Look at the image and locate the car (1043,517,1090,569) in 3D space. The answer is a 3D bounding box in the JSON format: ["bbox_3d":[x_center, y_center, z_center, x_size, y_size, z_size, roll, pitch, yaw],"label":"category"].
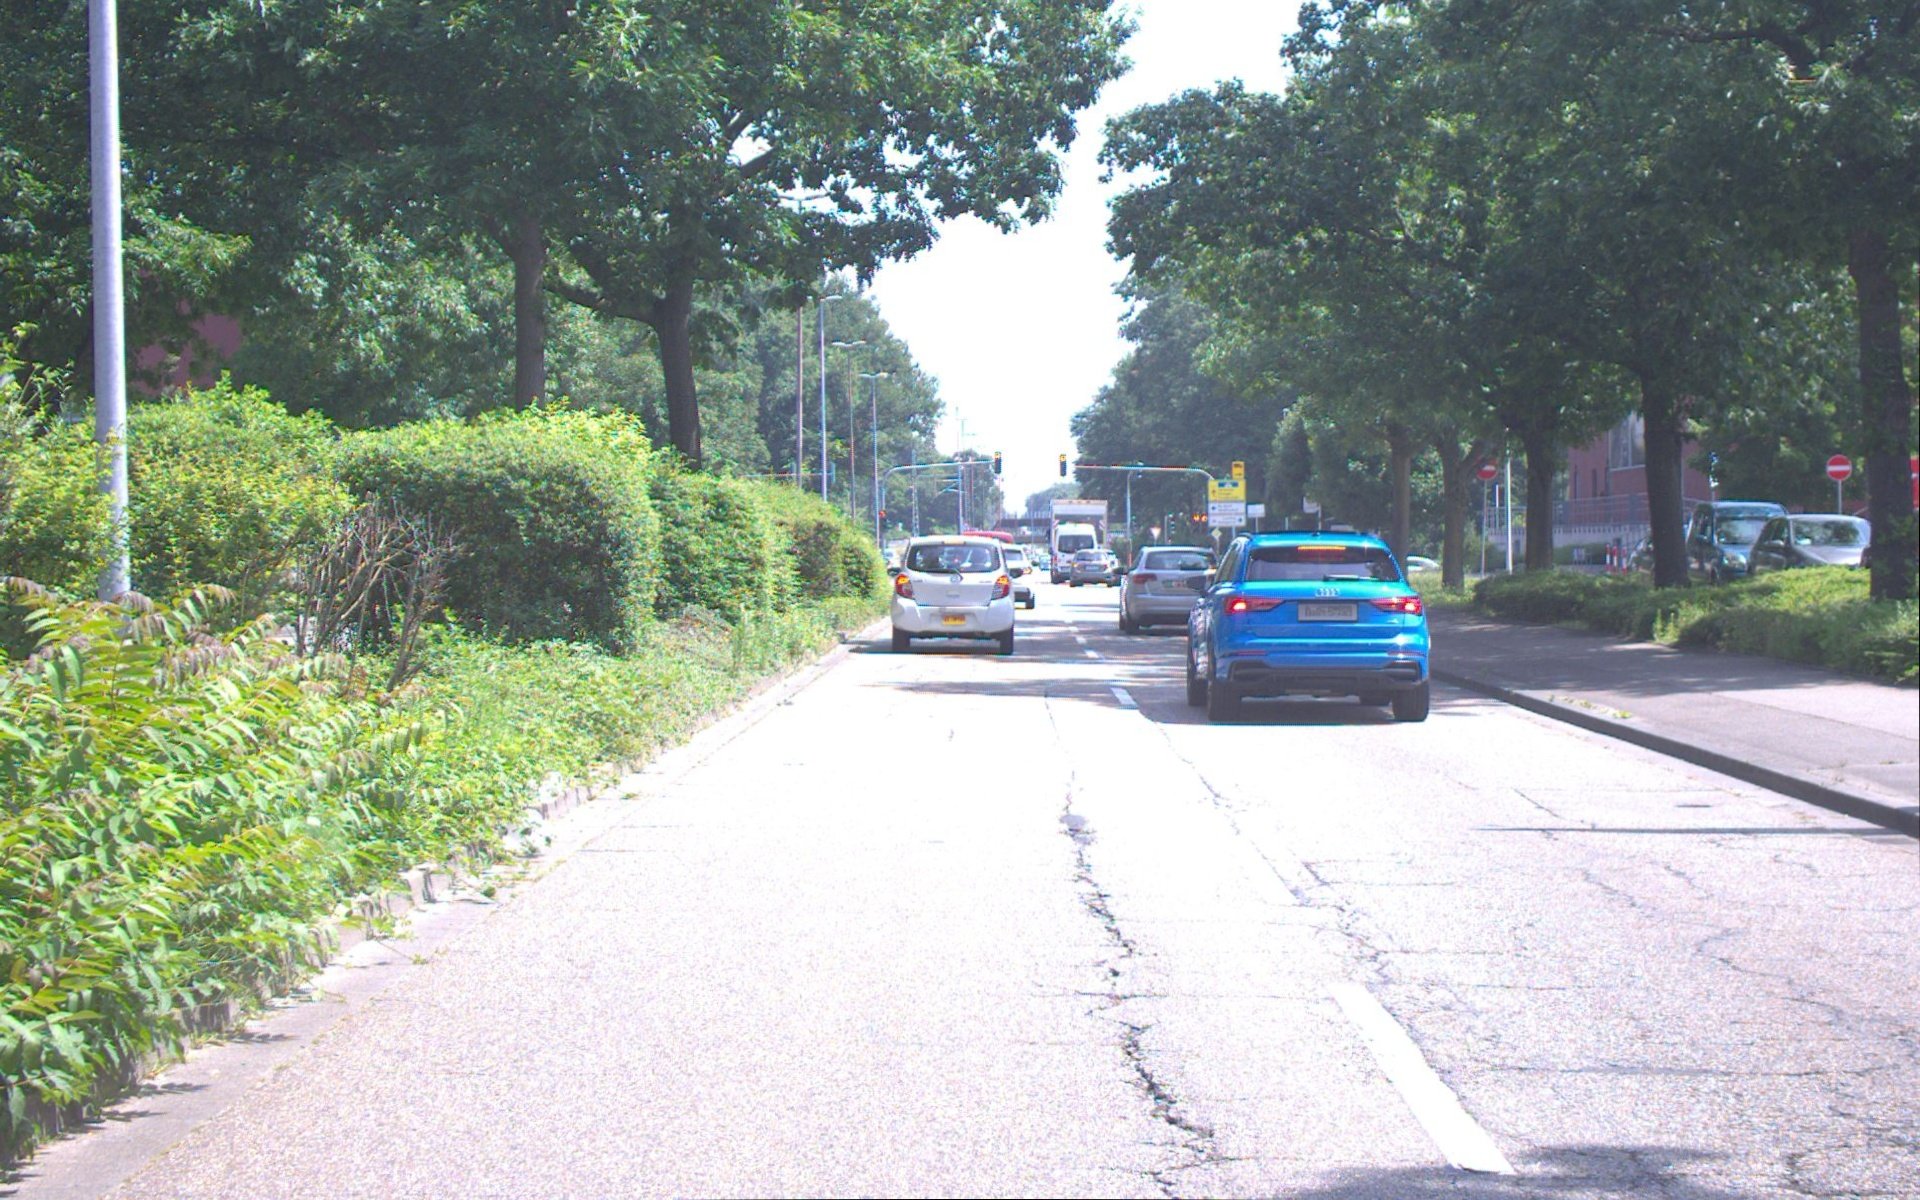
[{"bbox_3d":[4.717,-2.531,152.301,1.993,2.248,4.000,-1,1,1],"label":"car"}]

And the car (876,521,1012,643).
[{"bbox_3d":[-0.247,-0.242,45.703,1.638,1.547,3.325,0,0,-3],"label":"car"}]

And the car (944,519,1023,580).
[{"bbox_3d":[0.587,-1.289,88.756,1.794,1.518,4.000,0,0,-3],"label":"car"}]

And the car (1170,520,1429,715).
[{"bbox_3d":[2.898,0.127,30.153,1.808,1.587,4.349,0,0,0],"label":"car"}]

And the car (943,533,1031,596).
[{"bbox_3d":[0.611,-0.770,75.185,1.885,1.349,4.000,0,0,1],"label":"car"}]

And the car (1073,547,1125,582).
[{"bbox_3d":[5.520,-1.408,136.913,1.866,1.305,4.000,-1,1,0],"label":"car"}]

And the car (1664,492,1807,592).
[{"bbox_3d":[13.168,-0.974,58.547,1.700,1.632,3.905,-1,0,2],"label":"car"}]

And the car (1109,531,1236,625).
[{"bbox_3d":[3.419,-0.360,55.964,1.866,1.468,4.000,0,0,1],"label":"car"}]

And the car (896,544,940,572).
[{"bbox_3d":[-2.029,-2.059,167.766,1.993,1.284,4.000,-1,1,1],"label":"car"}]

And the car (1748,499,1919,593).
[{"bbox_3d":[13.396,-0.840,52.777,1.700,1.375,3.906,-1,1,0],"label":"car"}]

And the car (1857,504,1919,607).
[{"bbox_3d":[13.594,-0.620,46.727,1.700,1.375,4.324,-1,1,0],"label":"car"}]

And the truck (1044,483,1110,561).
[{"bbox_3d":[5.494,-3.677,162.924,2.932,3.490,9.158,-1,1,1],"label":"truck"}]
